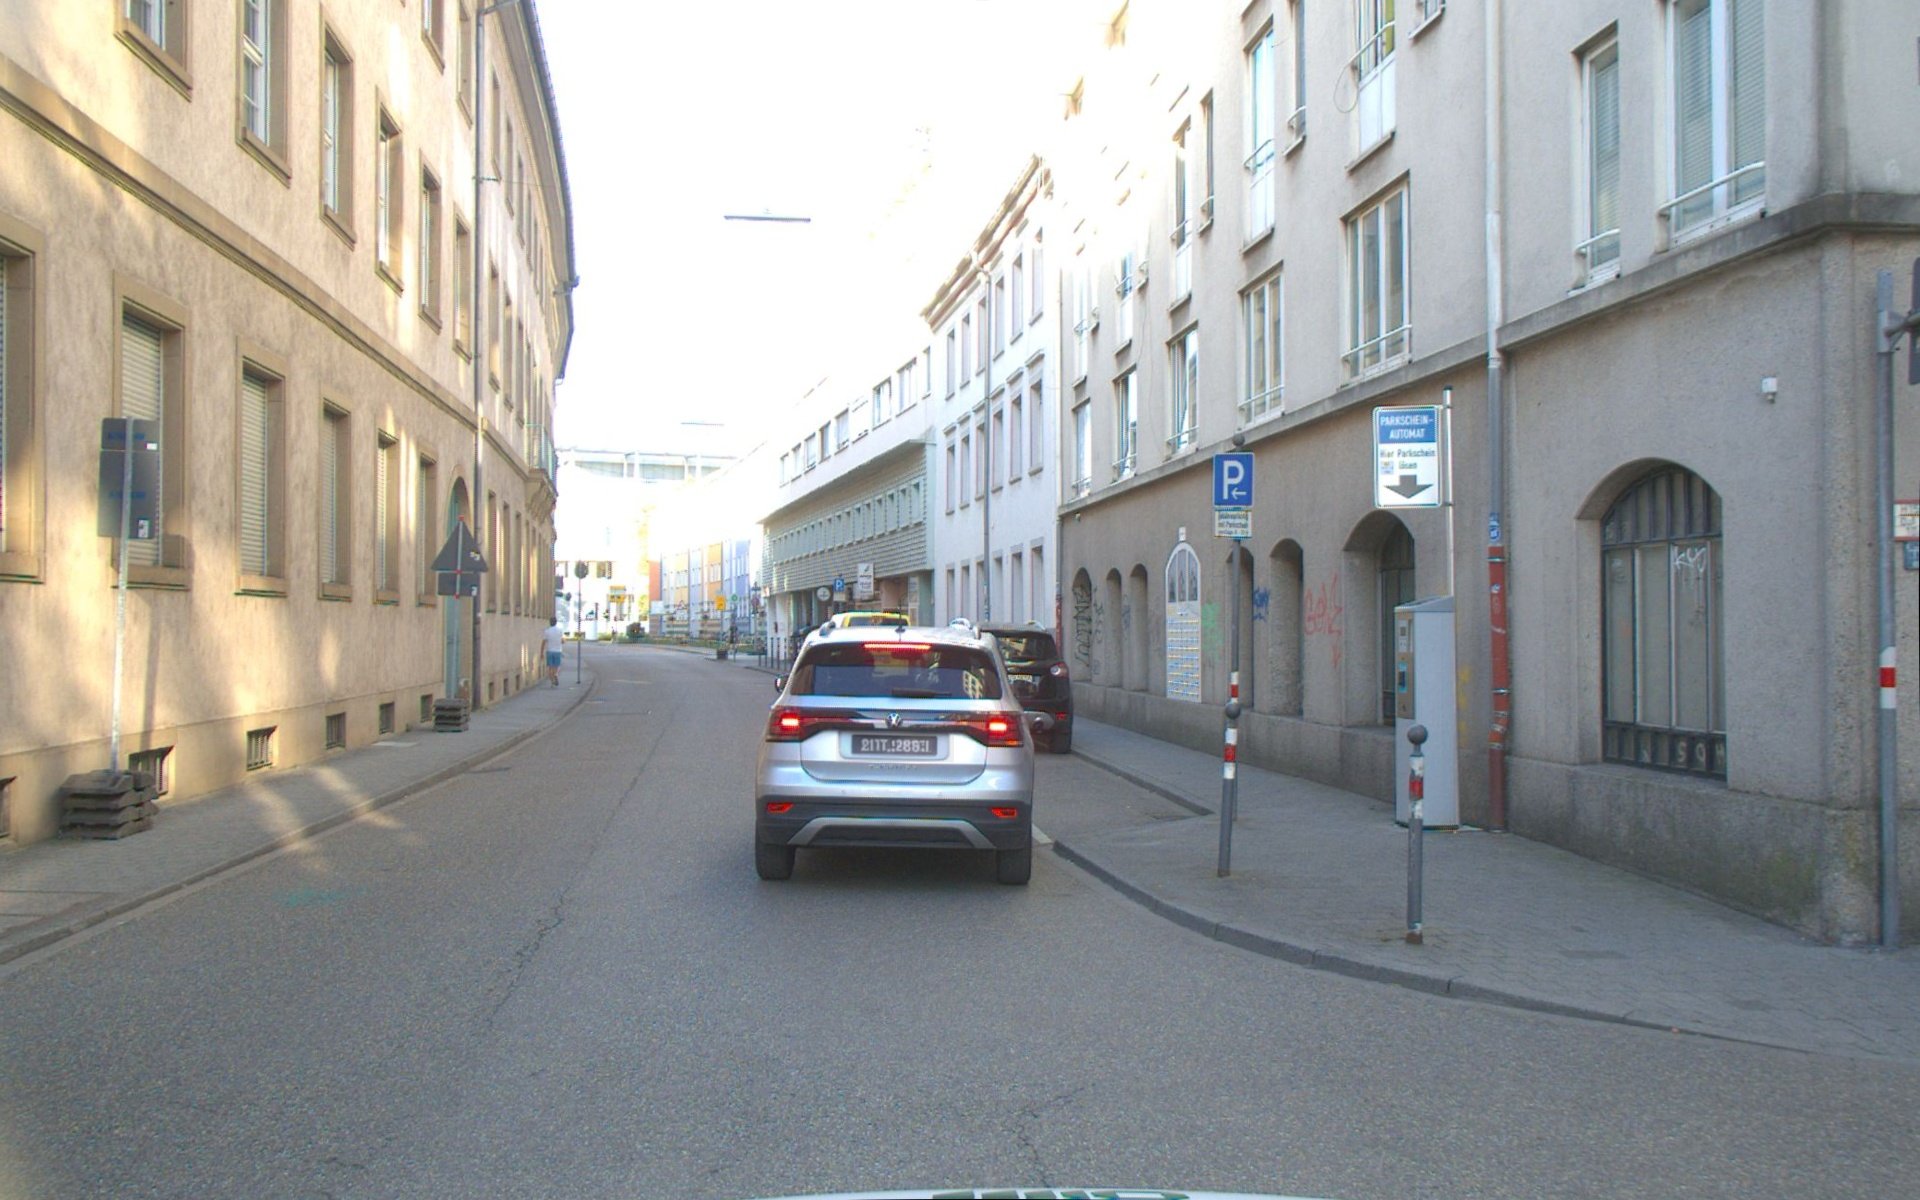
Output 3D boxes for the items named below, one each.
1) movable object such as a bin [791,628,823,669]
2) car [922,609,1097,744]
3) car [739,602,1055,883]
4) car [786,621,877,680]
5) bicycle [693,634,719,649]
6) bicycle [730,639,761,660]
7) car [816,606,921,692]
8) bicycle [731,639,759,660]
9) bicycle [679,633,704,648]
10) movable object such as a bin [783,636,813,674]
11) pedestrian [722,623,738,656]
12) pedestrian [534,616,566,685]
[{"bbox_3d":[-5.876,1.876,63.419,0.964,1.506,1.545,-1,-3,-14],"label":"movable object such as a bin"},{"bbox_3d":[0.575,1.009,22.926,1.790,1.684,4.486,1,-1,-7],"label":"car"},{"bbox_3d":[-0.369,0.858,11.426,1.788,1.586,3.985,0,-1,0],"label":"car"},{"bbox_3d":[-3.579,1.374,45.550,1.851,1.515,4.352,1,-1,-13],"label":"car"},{"bbox_3d":[-17.160,2.799,111.684,1.720,0.963,0.549,0,-1,-17],"label":"bicycle"},{"bbox_3d":[-12.754,2.953,98.391,1.721,1.161,0.549,-3,0,-17],"label":"bicycle"},{"bbox_3d":[-2.258,1.146,39.450,1.850,1.915,4.831,1,-1,-11],"label":"car"},{"bbox_3d":[-13.010,2.981,99.901,1.620,1.161,0.281,-3,0,-25],"label":"bicycle"},{"bbox_3d":[-20.764,3.126,127.918,1.782,1.157,0.549,0,-2,-18],"label":"bicycle"},{"bbox_3d":[-6.348,2.163,64.917,0.964,1.409,1.315,-1,-3,-14],"label":"movable object such as a bin"},{"bbox_3d":[-12.948,2.223,93.044,0.685,1.791,1.183,-2,-1,-16],"label":"pedestrian"},{"bbox_3d":[-10.191,1.260,41.162,0.680,1.699,0.872,2,-2,-12],"label":"pedestrian"}]
